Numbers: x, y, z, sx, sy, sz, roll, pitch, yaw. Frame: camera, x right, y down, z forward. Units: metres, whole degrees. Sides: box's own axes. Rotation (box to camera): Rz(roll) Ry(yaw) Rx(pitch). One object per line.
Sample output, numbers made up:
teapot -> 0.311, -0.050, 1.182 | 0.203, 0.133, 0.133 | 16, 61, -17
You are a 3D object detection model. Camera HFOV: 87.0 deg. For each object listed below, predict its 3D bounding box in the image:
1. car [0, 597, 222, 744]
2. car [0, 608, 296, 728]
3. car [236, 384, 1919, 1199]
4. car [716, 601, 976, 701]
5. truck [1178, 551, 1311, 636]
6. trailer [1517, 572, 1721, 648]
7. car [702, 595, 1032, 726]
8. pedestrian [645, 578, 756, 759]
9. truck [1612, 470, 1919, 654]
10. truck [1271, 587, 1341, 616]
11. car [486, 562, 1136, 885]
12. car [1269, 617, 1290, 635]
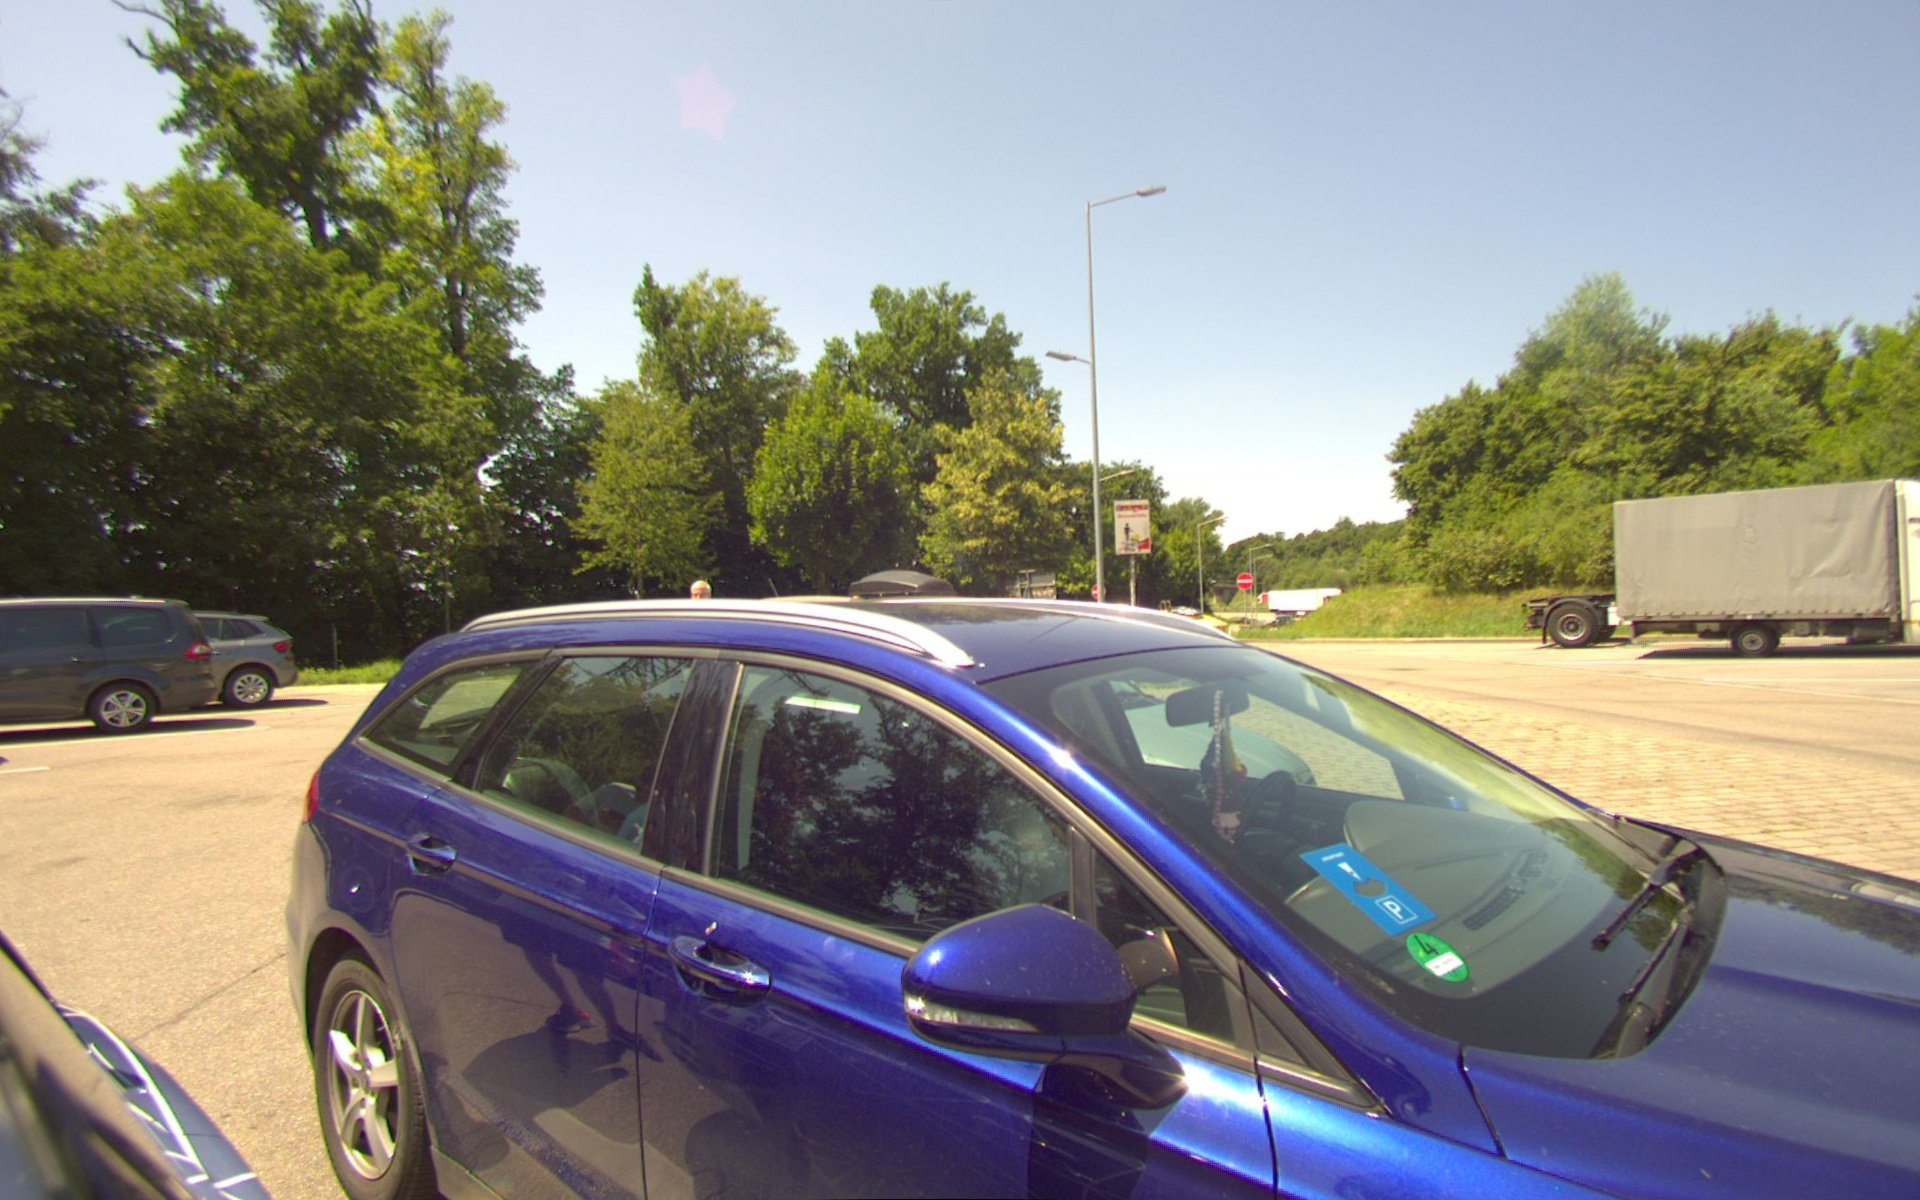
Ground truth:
car -> -11.697, 0.850, 12.565 | 3.910, 1.701, 1.782 | -1, -1, -43
car -> -12.726, 0.975, 15.616 | 3.910, 1.598, 1.782 | -1, -1, -43
car -> 0.226, 0.631, 2.109 | 4.466, 1.476, 1.756 | -3, -1, 40
car -> -2.027, 0.830, 17.094 | 4.466, 1.476, 1.756 | -3, -1, 40
truck -> 13.318, -0.244, 47.428 | 5.782, 3.720, 1.987 | -2, -1, 20
trailer -> 15.765, 0.274, 24.329 | 3.900, 1.674, 1.456 | -2, -1, 41
car -> -1.374, 0.758, 13.541 | 4.466, 1.476, 1.756 | -3, -1, 40
pedestrian -> -2.442, 0.620, 9.523 | 0.759, 1.614, 0.663 | -3, -1, 41
truck -> 16.736, -0.642, 18.858 | 7.348, 3.152, 2.339 | -3, -2, 41
truck -> 49.399, 0.294, 145.266 | 2.851, 3.859, 15.627 | -2, -1, -7
car -> -1.241, 0.632, 6.743 | 4.466, 1.476, 1.756 | -3, -1, 40
car -> 29.003, 2.377, 91.843 | 1.700, 1.547, 3.830 | -2, -1, 18
